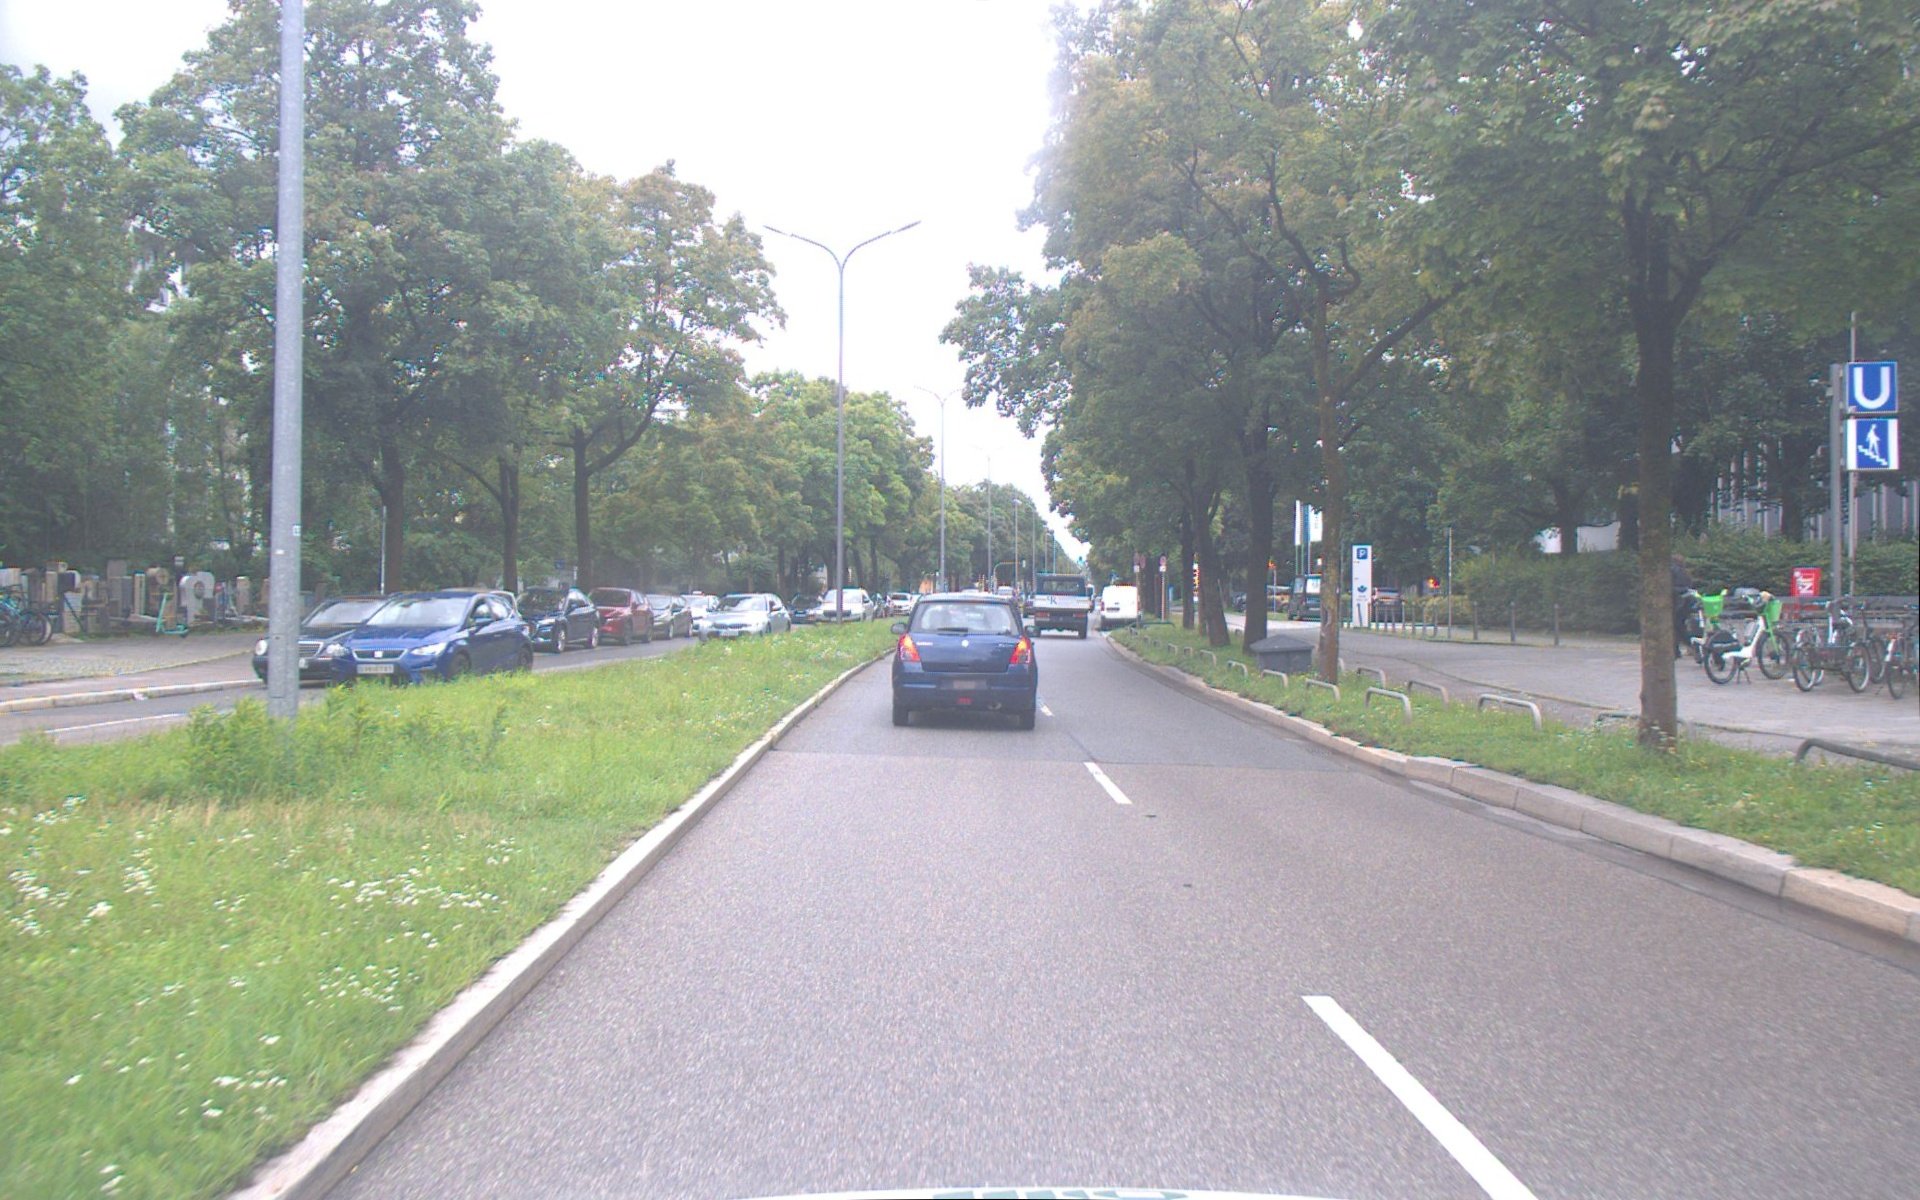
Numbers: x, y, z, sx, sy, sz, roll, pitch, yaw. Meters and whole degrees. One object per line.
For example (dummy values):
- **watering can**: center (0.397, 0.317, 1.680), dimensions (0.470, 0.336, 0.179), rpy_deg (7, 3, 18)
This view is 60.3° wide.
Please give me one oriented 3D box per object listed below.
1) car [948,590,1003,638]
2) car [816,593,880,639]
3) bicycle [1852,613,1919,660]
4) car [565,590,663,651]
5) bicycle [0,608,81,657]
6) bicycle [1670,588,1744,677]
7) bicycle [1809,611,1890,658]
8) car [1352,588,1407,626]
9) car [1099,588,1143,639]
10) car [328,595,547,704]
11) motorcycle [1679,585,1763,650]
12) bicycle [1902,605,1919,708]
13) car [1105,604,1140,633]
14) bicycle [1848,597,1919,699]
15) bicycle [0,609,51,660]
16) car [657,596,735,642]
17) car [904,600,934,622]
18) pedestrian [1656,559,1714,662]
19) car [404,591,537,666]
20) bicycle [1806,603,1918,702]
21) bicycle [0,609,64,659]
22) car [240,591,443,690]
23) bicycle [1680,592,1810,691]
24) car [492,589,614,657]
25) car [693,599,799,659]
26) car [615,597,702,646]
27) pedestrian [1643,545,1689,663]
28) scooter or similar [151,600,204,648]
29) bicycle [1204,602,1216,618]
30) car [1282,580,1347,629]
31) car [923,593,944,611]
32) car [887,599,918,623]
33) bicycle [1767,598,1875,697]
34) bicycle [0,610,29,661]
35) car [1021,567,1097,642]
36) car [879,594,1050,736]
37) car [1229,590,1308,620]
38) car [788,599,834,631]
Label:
- **car**: center (0.513, 0.435, 54.925), dimensions (1.762, 1.525, 3.660), rpy_deg (0, 0, 1)
- **car**: center (-4.130, 0.567, 61.612), dimensions (1.729, 1.653, 4.379), rpy_deg (-1, 0, 5)
- **bicycle**: center (18.888, 0.727, 33.617), dimensions (0.541, 0.868, 1.835), rpy_deg (0, 1, 0)
- **car**: center (-10.432, 0.583, 50.192), dimensions (1.702, 1.680, 4.608), rpy_deg (2, 0, 3)
- **bicycle**: center (-19.785, 0.696, 35.405), dimensions (1.725, 1.024, 0.437), rpy_deg (0, 0, 5)
- **bicycle**: center (11.492, 0.474, 25.496), dimensions (0.519, 1.248, 1.863), rpy_deg (-2, 1, 9)
- **bicycle**: center (18.083, 0.699, 33.667), dimensions (0.668, 0.868, 1.835), rpy_deg (0, 1, 0)
- **car**: center (20.934, 0.347, 82.723), dimensions (1.803, 1.850, 4.474), rpy_deg (-1, 0, 3)
- **car**: center (7.357, 0.596, 75.725), dimensions (1.945, 2.195, 5.559), rpy_deg (-1, 0, 5)
- **car**: center (-7.350, 0.646, 23.680), dimensions (1.656, 1.427, 3.969), rpy_deg (0, 0, 4)
- **motorcycle**: center (16.166, 0.353, 35.173), dimensions (0.538, 1.341, 2.069), rpy_deg (0, 0, -10)
- **bicycle**: center (11.230, 0.583, 18.414), dimensions (2.022, 1.108, 0.596), rpy_deg (-2, -2, -41)
- **car**: center (8.064, 0.902, 82.273), dimensions (1.666, 1.422, 4.235), rpy_deg (-1, 0, 5)
- **bicycle**: center (11.206, 0.540, 19.521), dimensions (1.937, 1.084, 0.572), rpy_deg (-3, 0, -41)
- **bicycle**: center (-19.739, 0.714, 34.175), dimensions (1.725, 1.024, 0.437), rpy_deg (0, 0, 5)
- **car**: center (-9.545, 0.647, 60.049), dimensions (1.702, 1.556, 4.478), rpy_deg (2, 0, 5)
- **car**: center (-3.215, 0.829, 130.518), dimensions (1.793, 1.637, 4.494), rpy_deg (2, 0, 6)
- **pedestrian**: center (12.467, 0.175, 28.442), dimensions (0.770, 1.744, 0.747), rpy_deg (0, 0, 37)
- **car**: center (-11.466, 0.640, 39.011), dimensions (1.612, 1.642, 3.821), rpy_deg (1, 0, 6)
- **bicycle**: center (11.433, 0.638, 20.932), dimensions (1.937, 1.102, 0.588), rpy_deg (-4, 2, -41)
- **bicycle**: center (-19.829, 0.714, 34.813), dimensions (1.725, 1.024, 0.437), rpy_deg (0, 0, 5)
- **car**: center (-10.151, 0.618, 27.453), dimensions (1.656, 1.510, 3.969), rpy_deg (0, 0, 4)
- **bicycle**: center (10.756, 0.553, 22.631), dimensions (1.927, 1.209, 0.591), rpy_deg (-3, 1, -30)
- **car**: center (-10.863, 0.578, 44.463), dimensions (1.702, 1.672, 4.687), rpy_deg (1, 0, 5)
- **car**: center (-5.617, 0.730, 44.015), dimensions (1.875, 1.510, 4.867), rpy_deg (-1, 0, 4)
- **car**: center (-10.020, 0.681, 55.193), dimensions (1.702, 1.508, 4.336), rpy_deg (2, 0, 5)
- **pedestrian**: center (11.800, 0.068, 27.665), dimensions (0.637, 1.932, 0.749), rpy_deg (0, 0, 19)
- **scooter or similar**: center (-19.279, 0.578, 40.774), dimensions (0.426, 1.146, 1.290), rpy_deg (0, 0, 17)
- **bicycle**: center (19.500, 0.755, 129.002), dimensions (0.732, 1.203, 2.248), rpy_deg (0, 0, 5)
- **car**: center (17.597, 0.222, 82.421), dimensions (2.217, 2.347, 6.271), rpy_deg (-1, 0, 3)
- **car**: center (-2.292, 0.180, 143.491), dimensions (1.655, 1.593, 3.081), rpy_deg (0, 0, 3)
- **car**: center (-4.155, 0.796, 120.491), dimensions (1.720, 1.622, 4.491), rpy_deg (2, 0, 4)
- **bicycle**: center (11.452, 0.607, 21.962), dimensions (1.937, 1.127, 0.572), rpy_deg (-5, 3, -41)
- **bicycle**: center (-19.701, 0.712, 33.300), dimensions (1.725, 1.024, 0.437), rpy_deg (0, 0, 5)
- **car**: center (3.590, 0.152, 59.039), dimensions (2.367, 2.487, 5.090), rpy_deg (1, 0, 6)
- **car**: center (0.114, 0.707, 19.878), dimensions (1.857, 1.525, 3.661), rpy_deg (1, 0, 2)
- **car**: center (22.054, 0.319, 118.379), dimensions (5.355, 2.120, 2.148), rpy_deg (0, 0, 4)
- **car**: center (-7.456, 0.729, 82.966), dimensions (1.547, 1.448, 4.365), rpy_deg (3, 0, 4)
